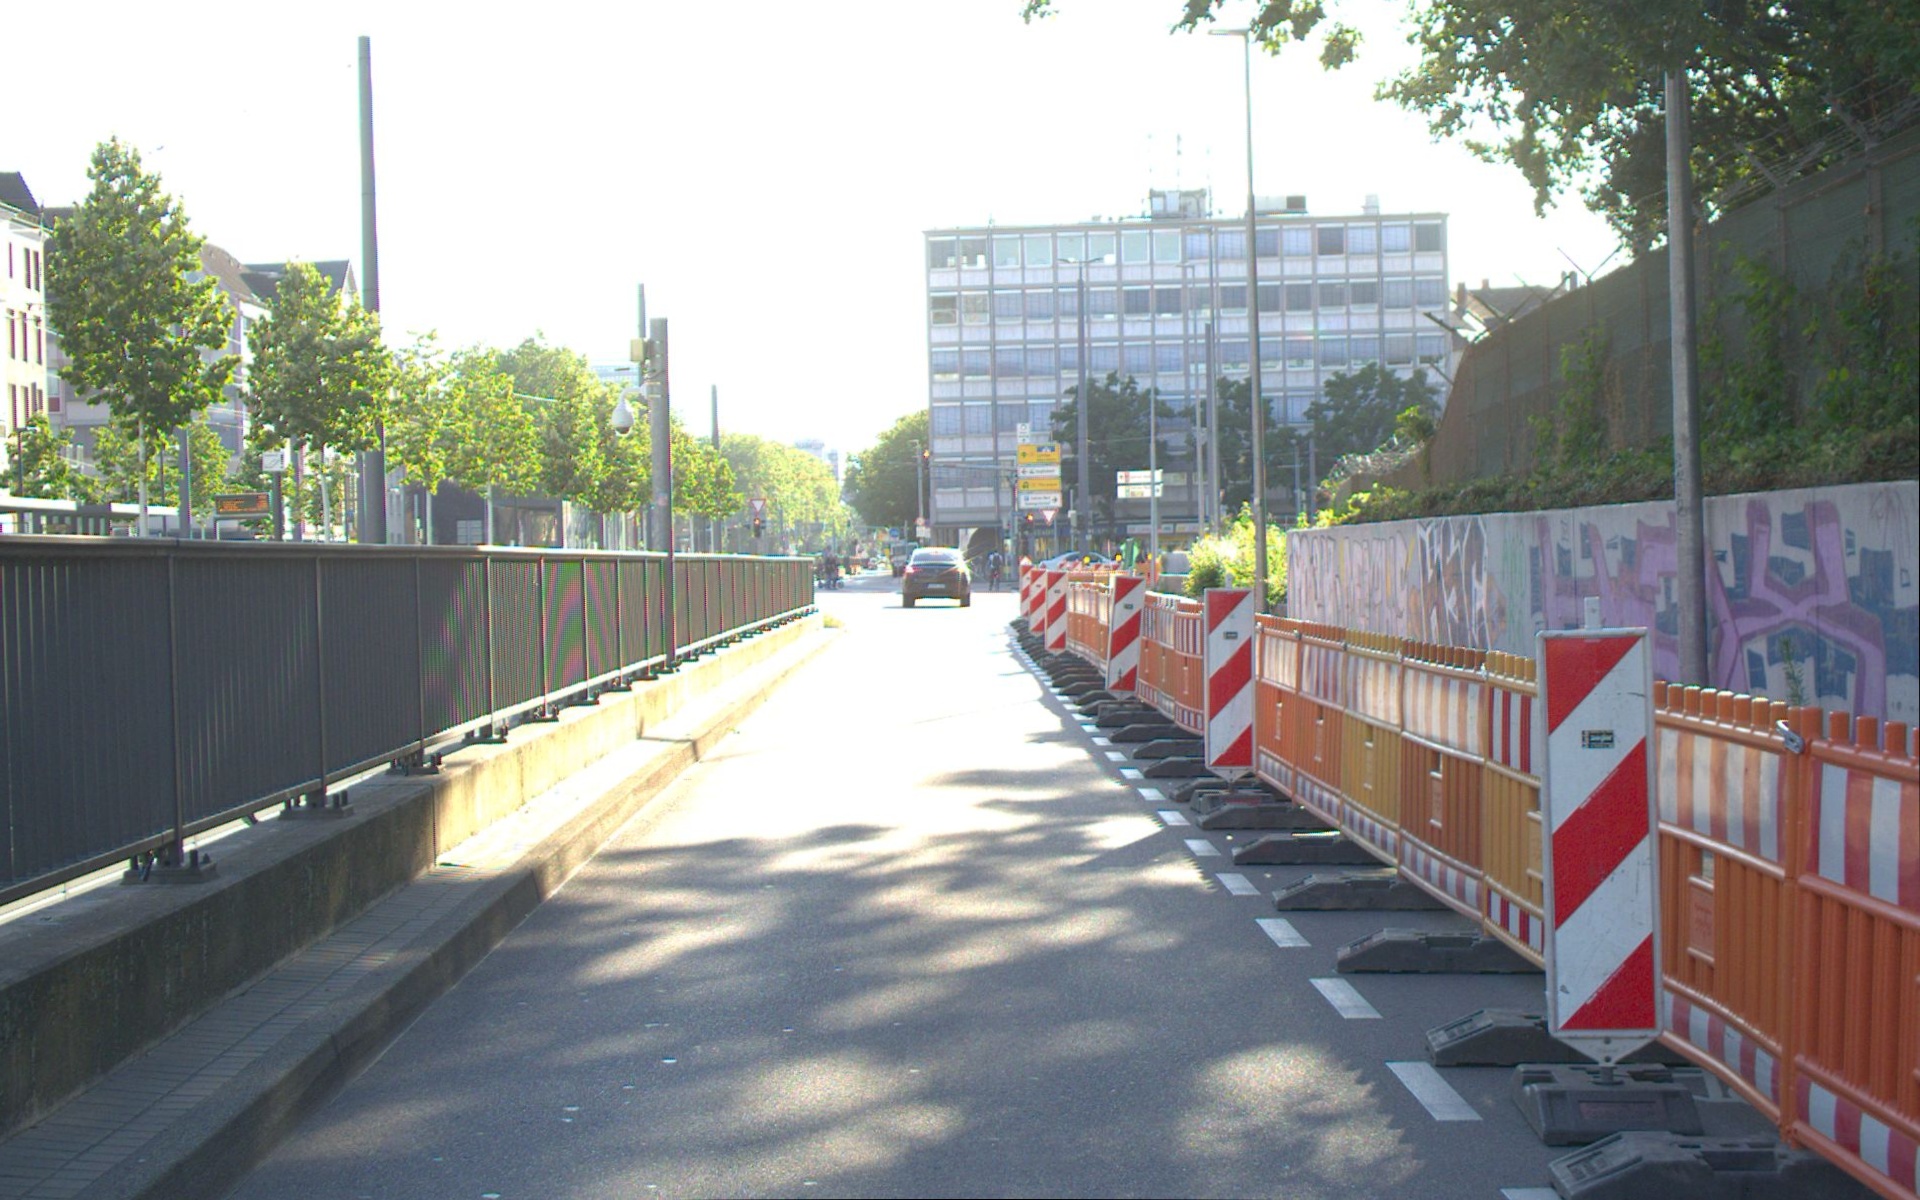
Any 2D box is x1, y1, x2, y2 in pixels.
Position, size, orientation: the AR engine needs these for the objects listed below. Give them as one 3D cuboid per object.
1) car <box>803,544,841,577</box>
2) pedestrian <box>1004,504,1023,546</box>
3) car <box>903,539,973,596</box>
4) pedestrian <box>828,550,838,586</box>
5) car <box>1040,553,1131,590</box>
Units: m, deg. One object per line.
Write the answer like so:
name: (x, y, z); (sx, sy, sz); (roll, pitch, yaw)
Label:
car: (-7.424, -2.141, 185.838); (1.993, 1.612, 4.001); (-1, 3, -2)
pedestrian: (2.739, -3.802, 174.817); (0.891, 2.105, 0.718); (-1, 1, 5)
car: (-0.638, -0.968, 102.545); (2.005, 1.653, 4.000); (1, 0, 0)
pedestrian: (-5.579, -1.410, 151.010); (0.275, 1.569, 0.440); (1, 0, -26)
car: (5.743, -1.297, 156.948); (3.988, 1.634, 1.999); (0, 0, 7)
